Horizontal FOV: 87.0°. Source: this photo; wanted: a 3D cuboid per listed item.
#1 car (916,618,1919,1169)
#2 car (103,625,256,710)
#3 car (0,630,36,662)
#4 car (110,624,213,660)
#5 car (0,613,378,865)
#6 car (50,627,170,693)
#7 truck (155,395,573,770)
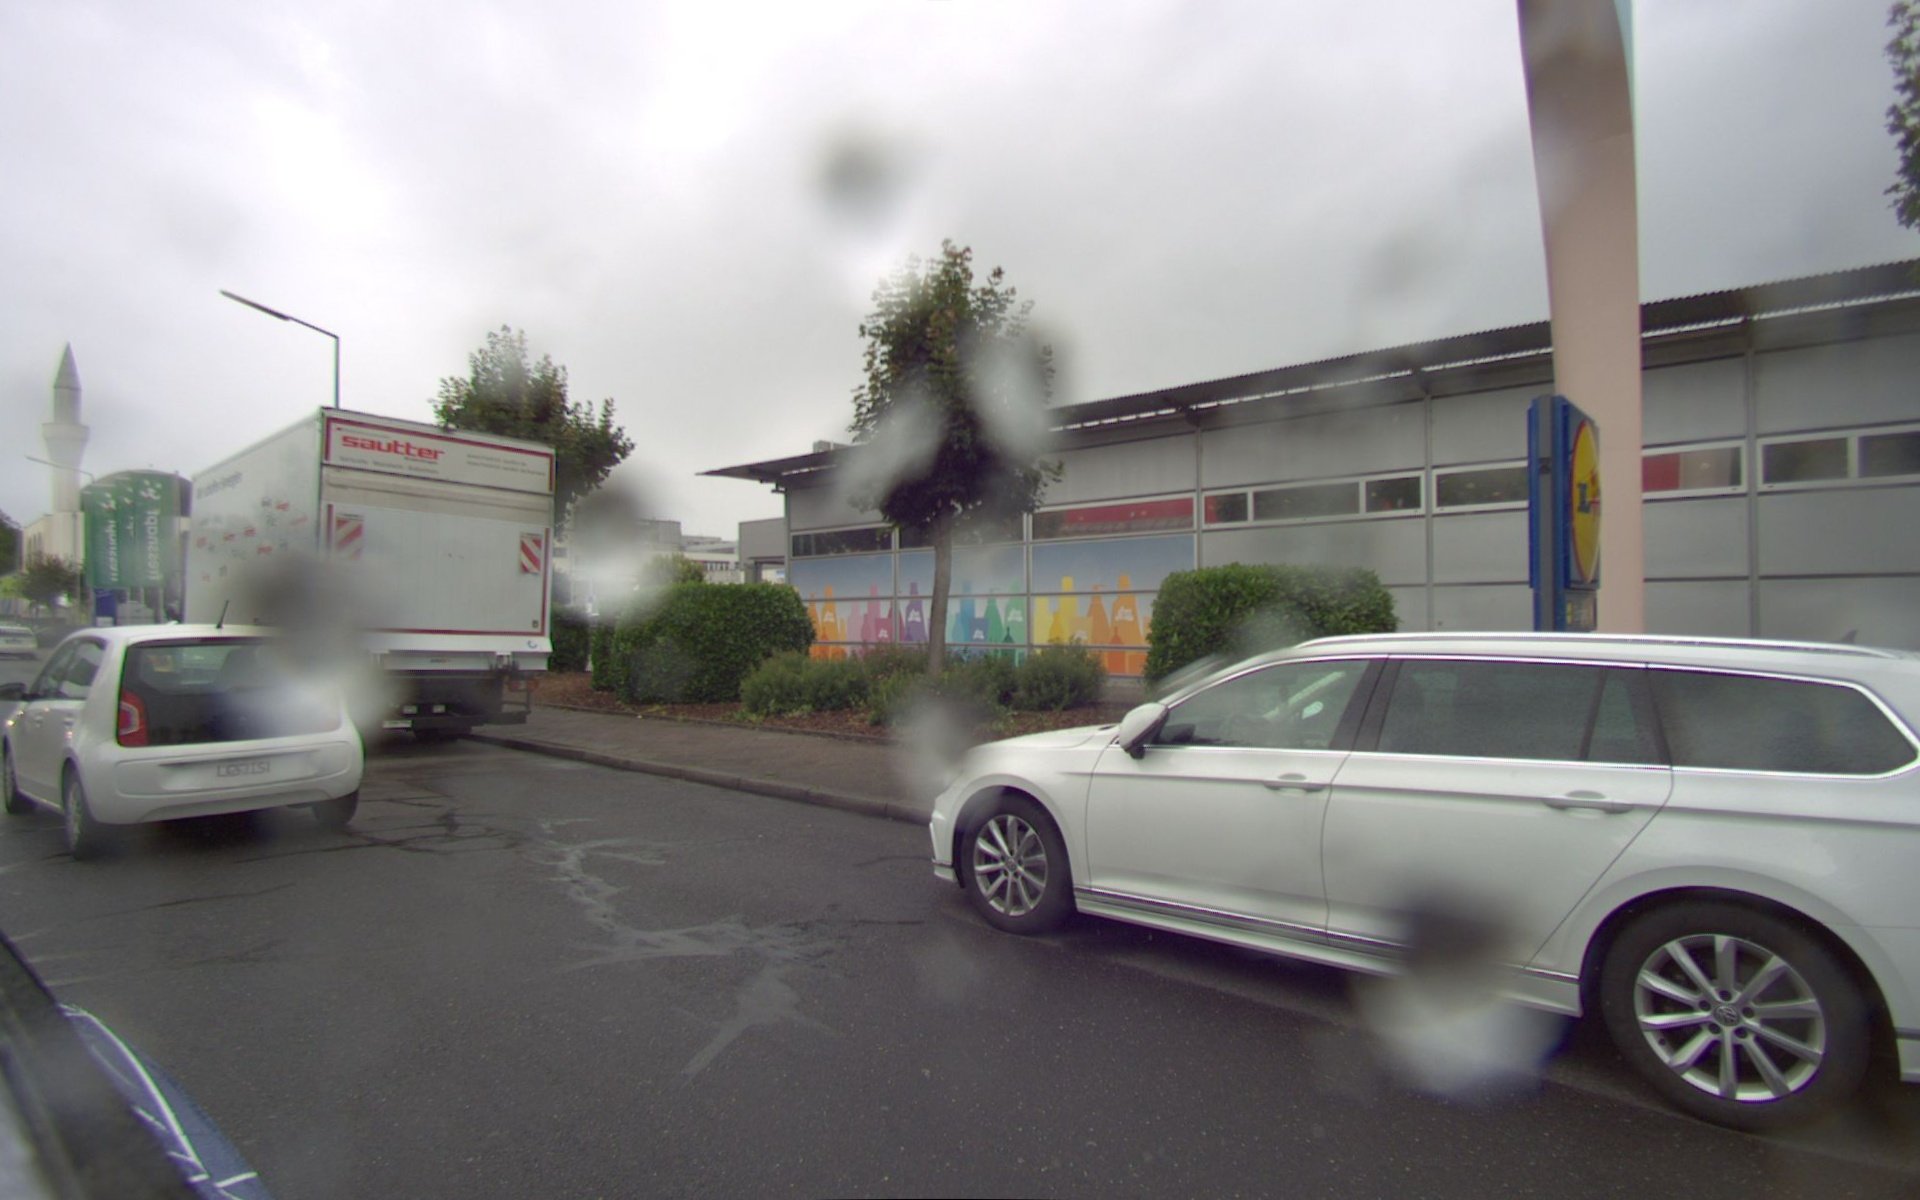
[{"bbox_3d":[2.036,0.830,4.363,4.491,1.445,1.816,-2,-3,43],"label":"car"},{"bbox_3d":[-15.166,1.238,19.619,3.511,1.477,1.670,-2,-2,41],"label":"car"},{"bbox_3d":[-42.224,2.033,44.783,3.609,1.351,1.559,-2,-2,41],"label":"car"},{"bbox_3d":[-37.685,1.957,47.816,1.690,1.610,3.564,-1,-2,38],"label":"car"},{"bbox_3d":[-5.912,0.861,7.563,3.404,1.449,1.595,-1,-3,39],"label":"car"},{"bbox_3d":[-20.627,1.396,24.519,3.511,1.477,1.670,-2,-2,41],"label":"car"},{"bbox_3d":[-8.523,-0.089,13.921,7.867,3.775,2.850,-2,-2,43],"label":"truck"}]
